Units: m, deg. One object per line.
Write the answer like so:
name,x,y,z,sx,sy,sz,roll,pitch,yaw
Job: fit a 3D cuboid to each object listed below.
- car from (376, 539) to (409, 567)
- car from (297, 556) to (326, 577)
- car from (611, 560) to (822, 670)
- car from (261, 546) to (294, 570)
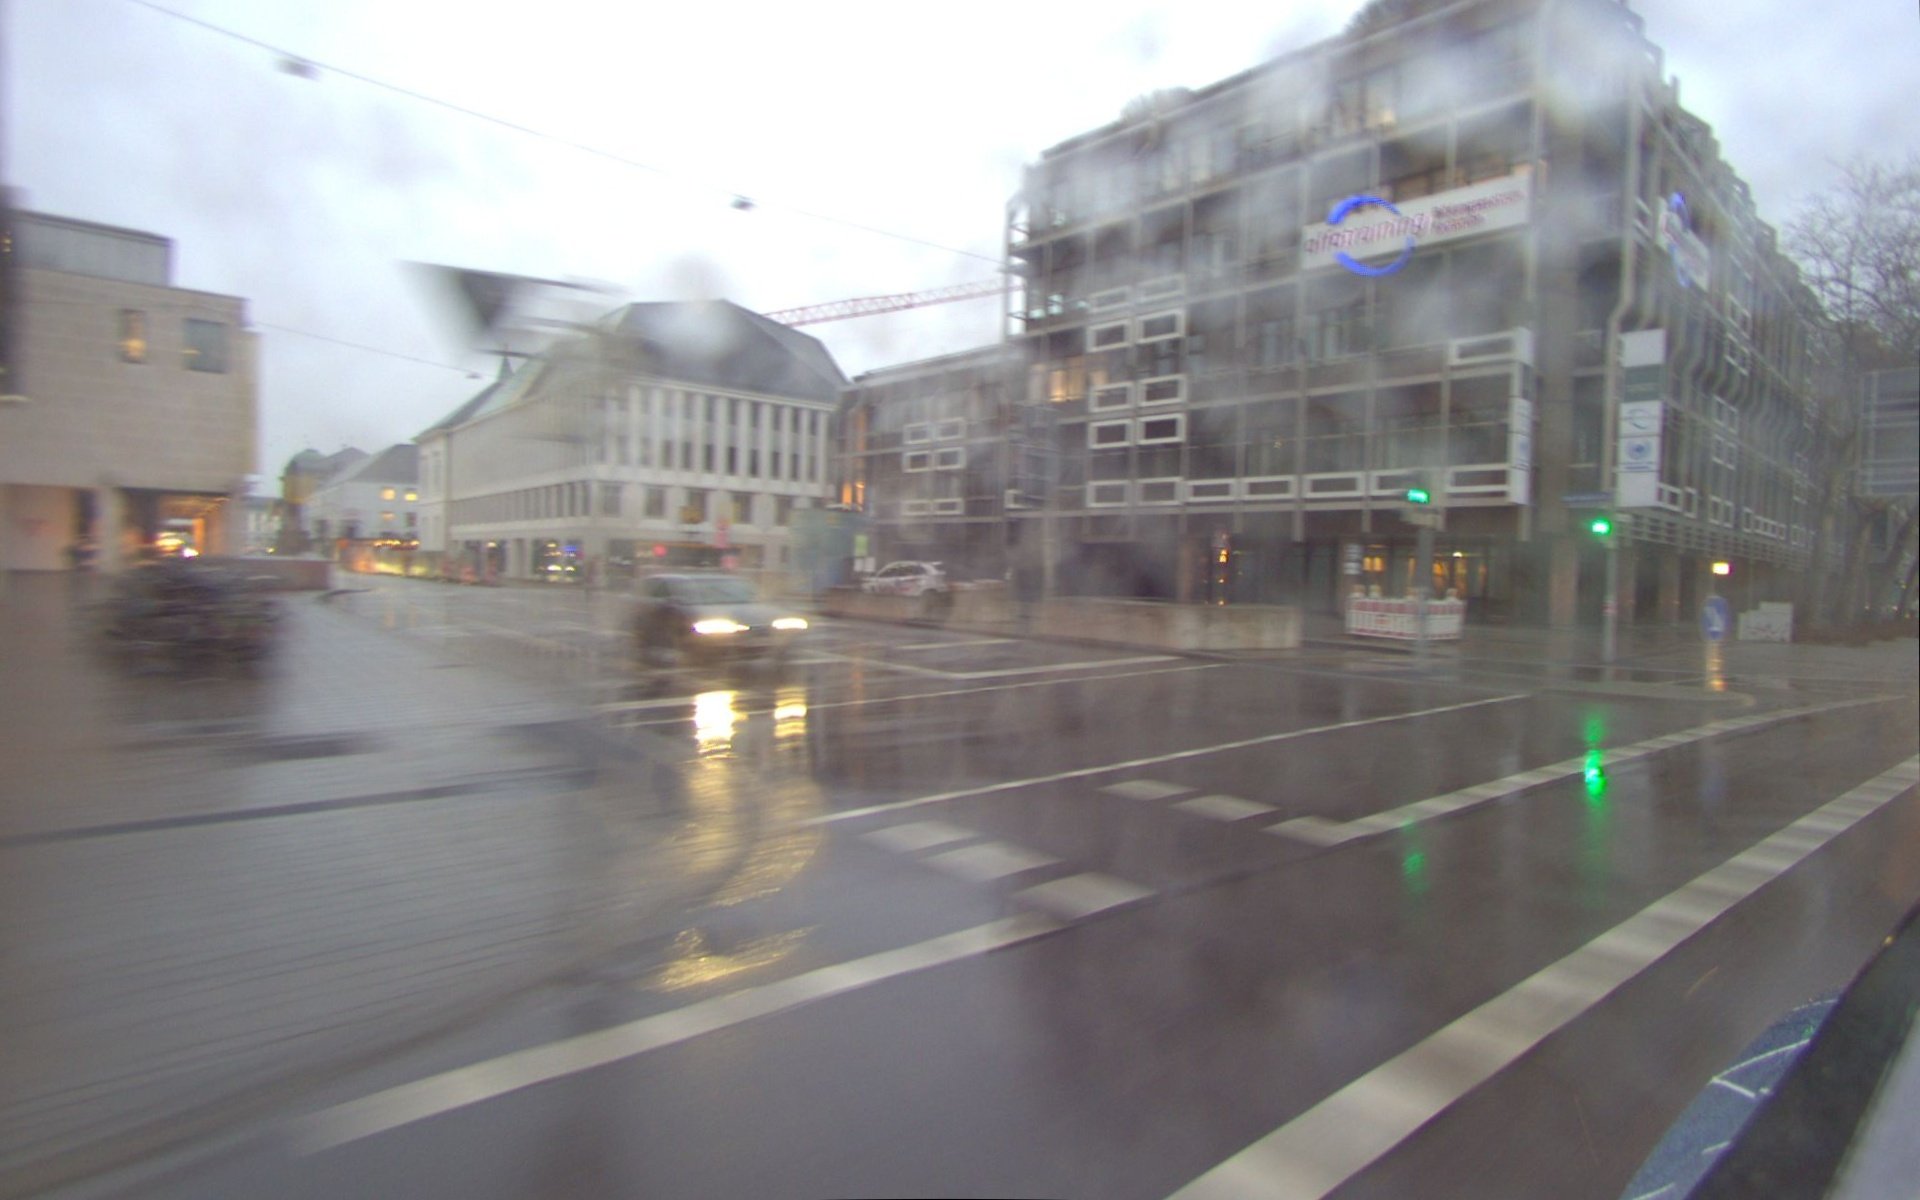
car,-53.160,-4.359,94.751,1.935,2.531,3.994,0,1,-41
car,-56.490,-2.960,88.145,1.869,1.706,3.936,0,3,-37
car,-4.070,0.133,16.529,1.825,1.509,3.824,-2,4,-41
car,-50.501,-3.109,74.851,1.869,1.706,3.936,0,3,-37
